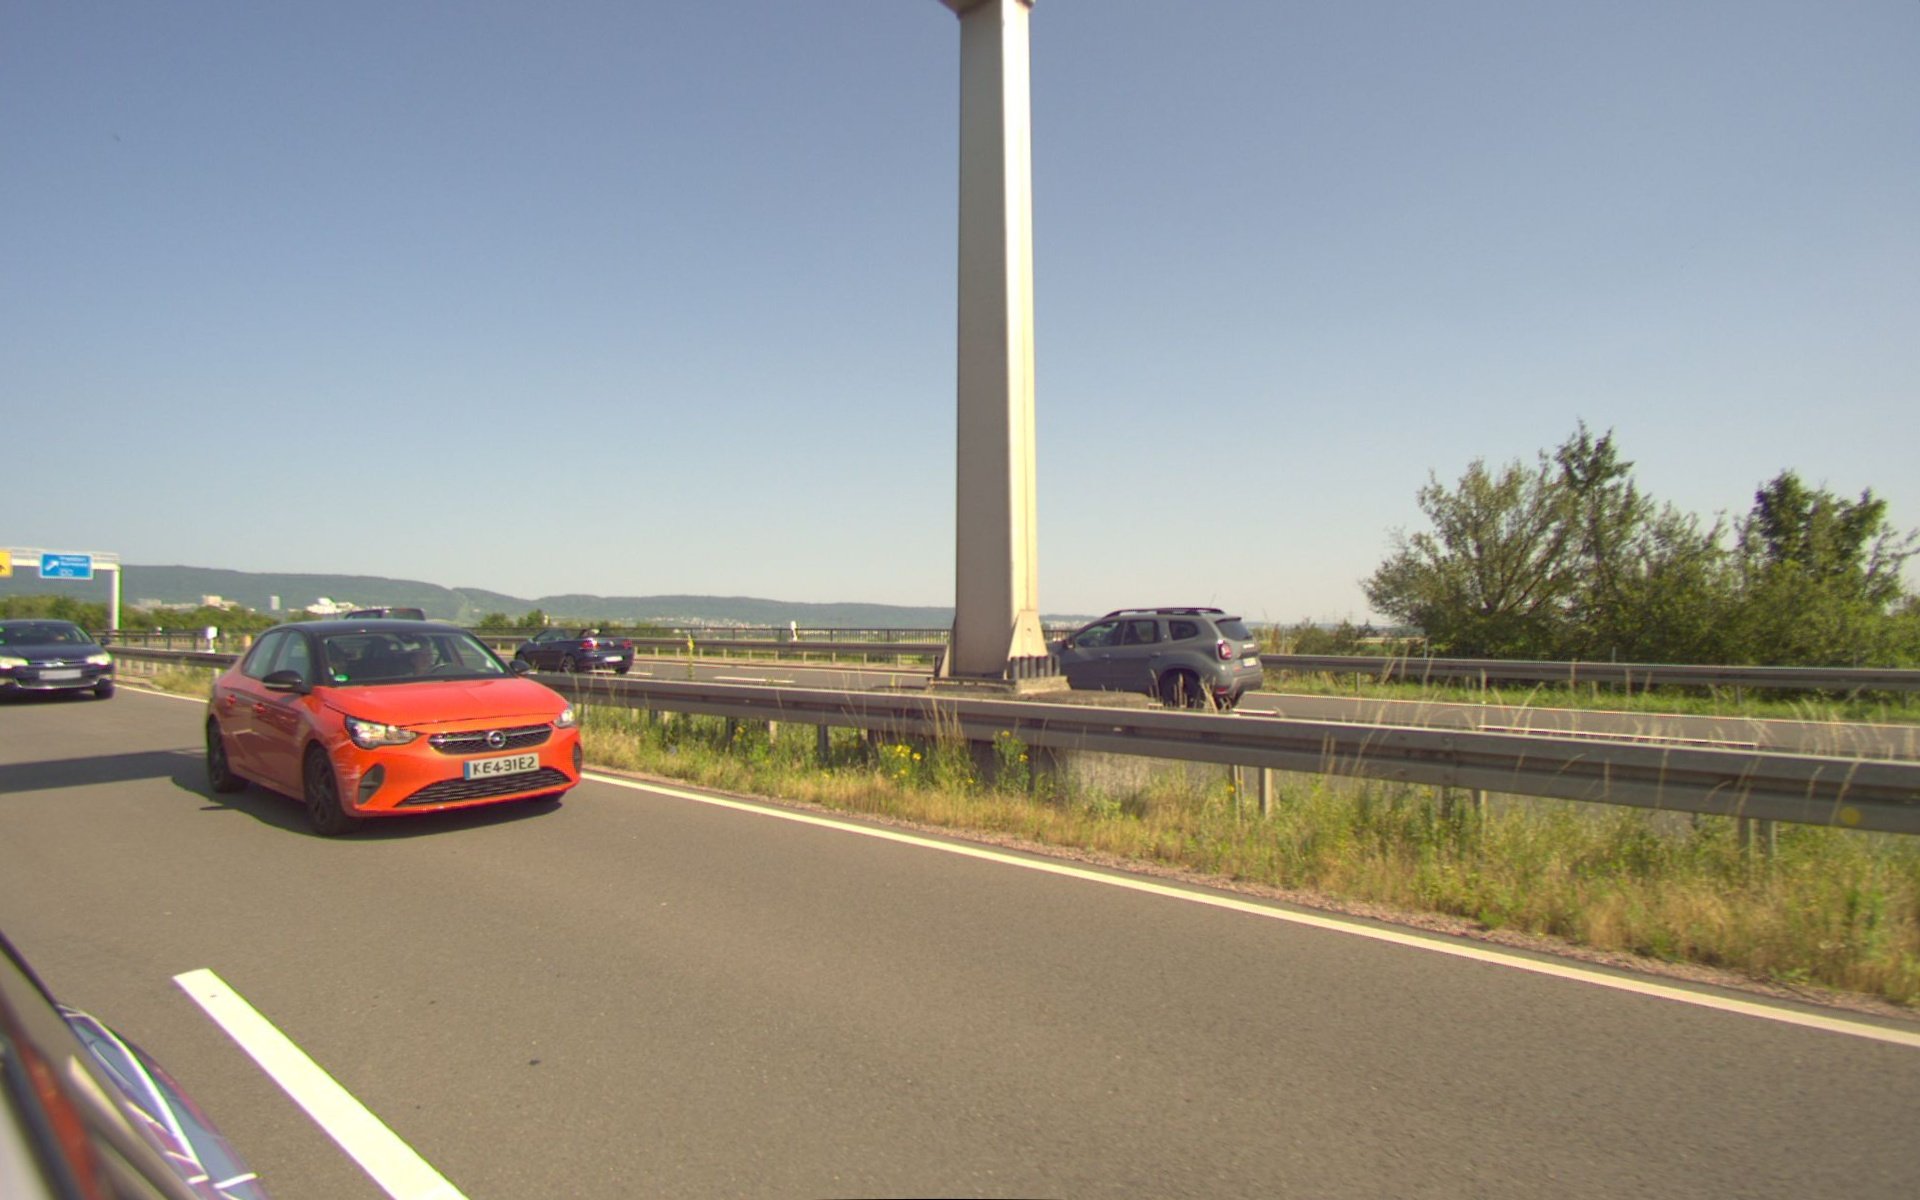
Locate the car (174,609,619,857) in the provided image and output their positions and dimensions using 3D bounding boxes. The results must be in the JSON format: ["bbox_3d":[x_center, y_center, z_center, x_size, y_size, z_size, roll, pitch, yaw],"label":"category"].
[{"bbox_3d":[-4.670,0.861,8.067,4.409,1.448,1.691,-3,-2,41],"label":"car"}]

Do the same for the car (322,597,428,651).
[{"bbox_3d":[-22.007,0.904,38.019,4.412,1.920,1.974,-2,-2,38],"label":"car"}]

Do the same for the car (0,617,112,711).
[{"bbox_3d":[-17.193,1.111,18.602,4.372,1.545,1.765,-1,-1,40],"label":"car"}]

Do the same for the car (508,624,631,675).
[{"bbox_3d":[-10.949,1.361,28.256,3.711,1.279,1.551,-2,-1,39],"label":"car"}]

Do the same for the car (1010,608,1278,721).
[{"bbox_3d":[2.931,0.992,16.611,3.999,1.629,1.715,-2,-2,40],"label":"car"}]
